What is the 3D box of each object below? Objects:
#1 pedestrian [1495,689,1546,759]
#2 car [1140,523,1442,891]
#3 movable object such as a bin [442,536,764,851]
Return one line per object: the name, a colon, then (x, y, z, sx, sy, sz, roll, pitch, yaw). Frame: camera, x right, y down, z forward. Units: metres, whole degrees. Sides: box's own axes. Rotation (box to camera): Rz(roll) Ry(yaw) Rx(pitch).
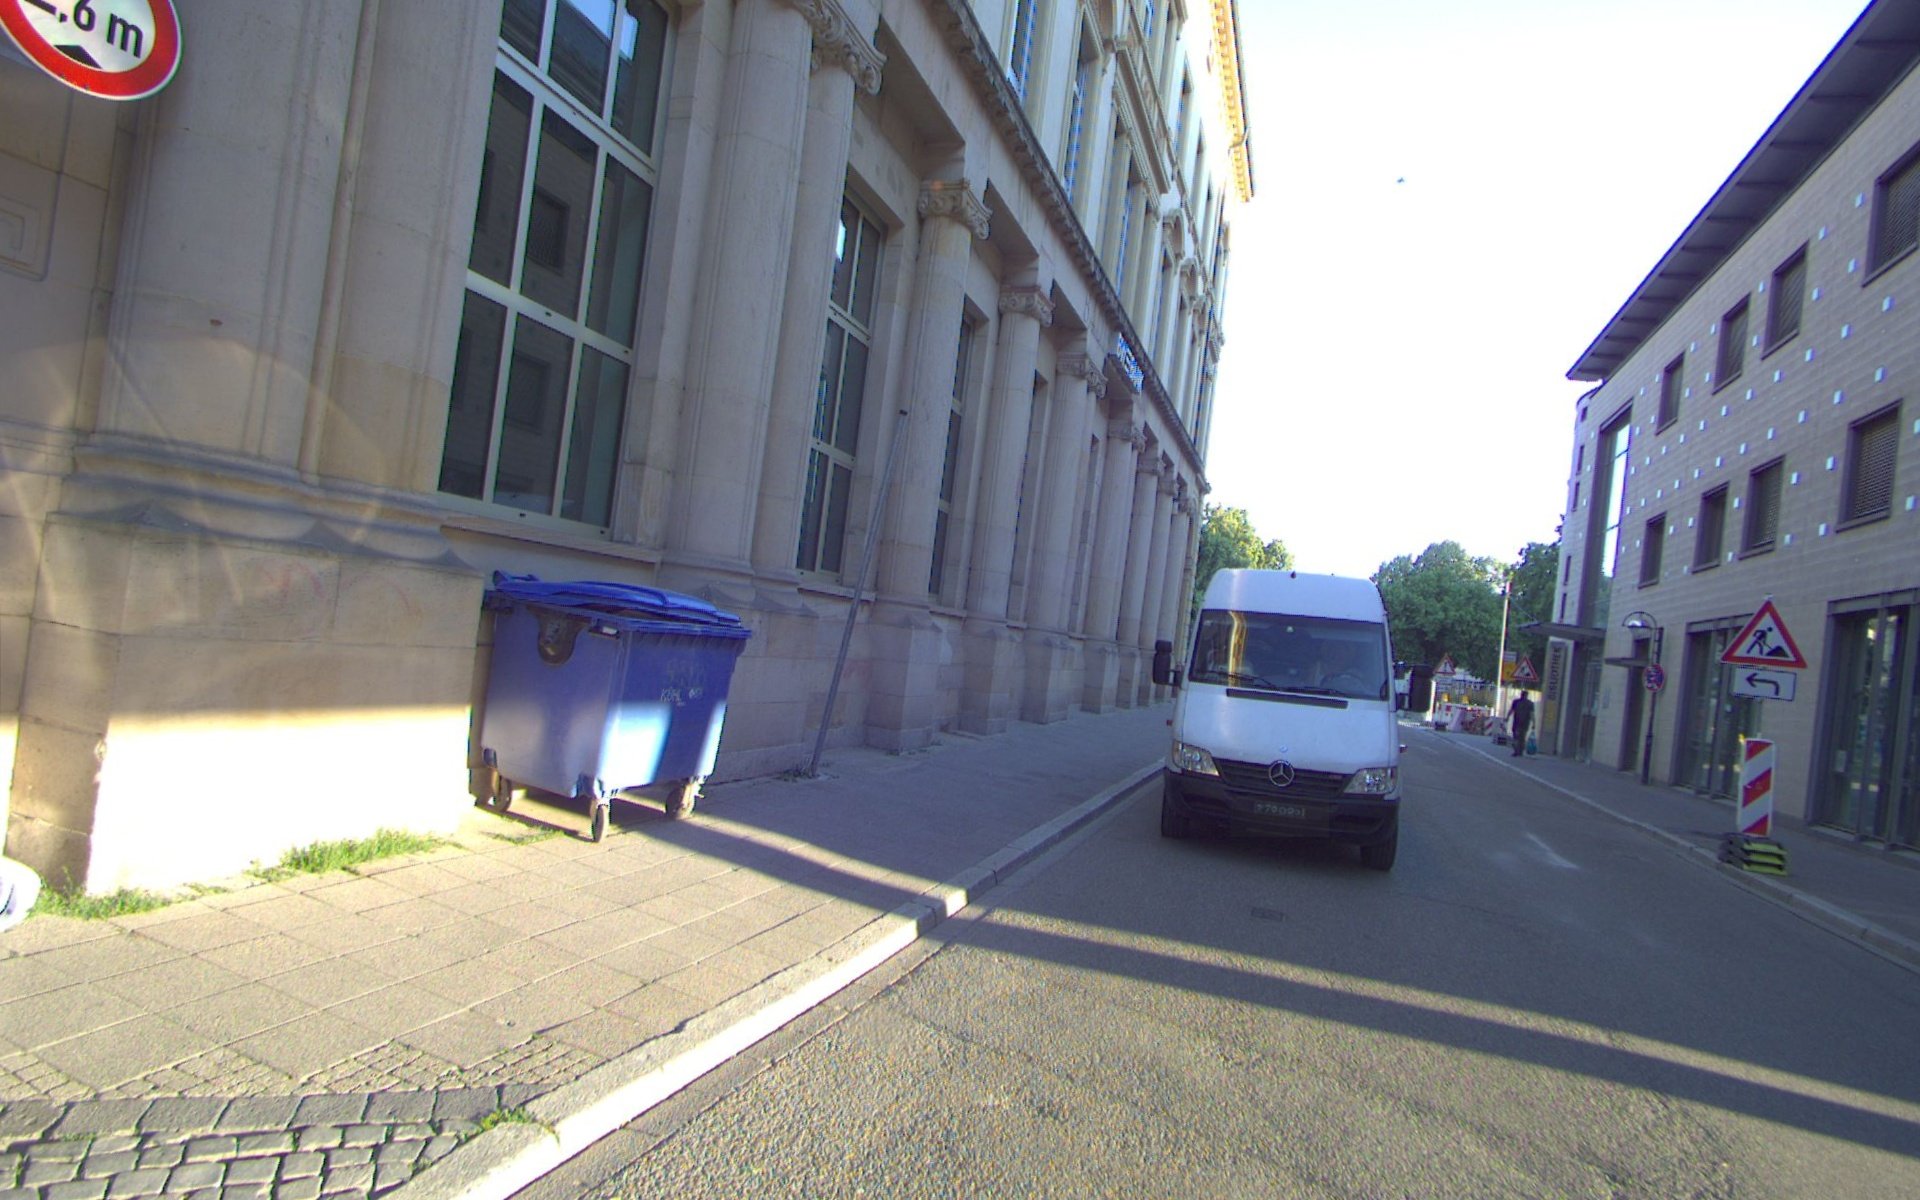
pedestrian: (15.112, 3.329, 27.153, 0.909, 1.722, 0.869, 6, -1, 21)
car: (3.354, 0.940, 10.523, 1.964, 2.541, 6.474, 4, -2, 17)
movable object such as a bin: (-2.022, 0.509, 5.852, 1.058, 1.492, 1.187, 9, 0, 24)
